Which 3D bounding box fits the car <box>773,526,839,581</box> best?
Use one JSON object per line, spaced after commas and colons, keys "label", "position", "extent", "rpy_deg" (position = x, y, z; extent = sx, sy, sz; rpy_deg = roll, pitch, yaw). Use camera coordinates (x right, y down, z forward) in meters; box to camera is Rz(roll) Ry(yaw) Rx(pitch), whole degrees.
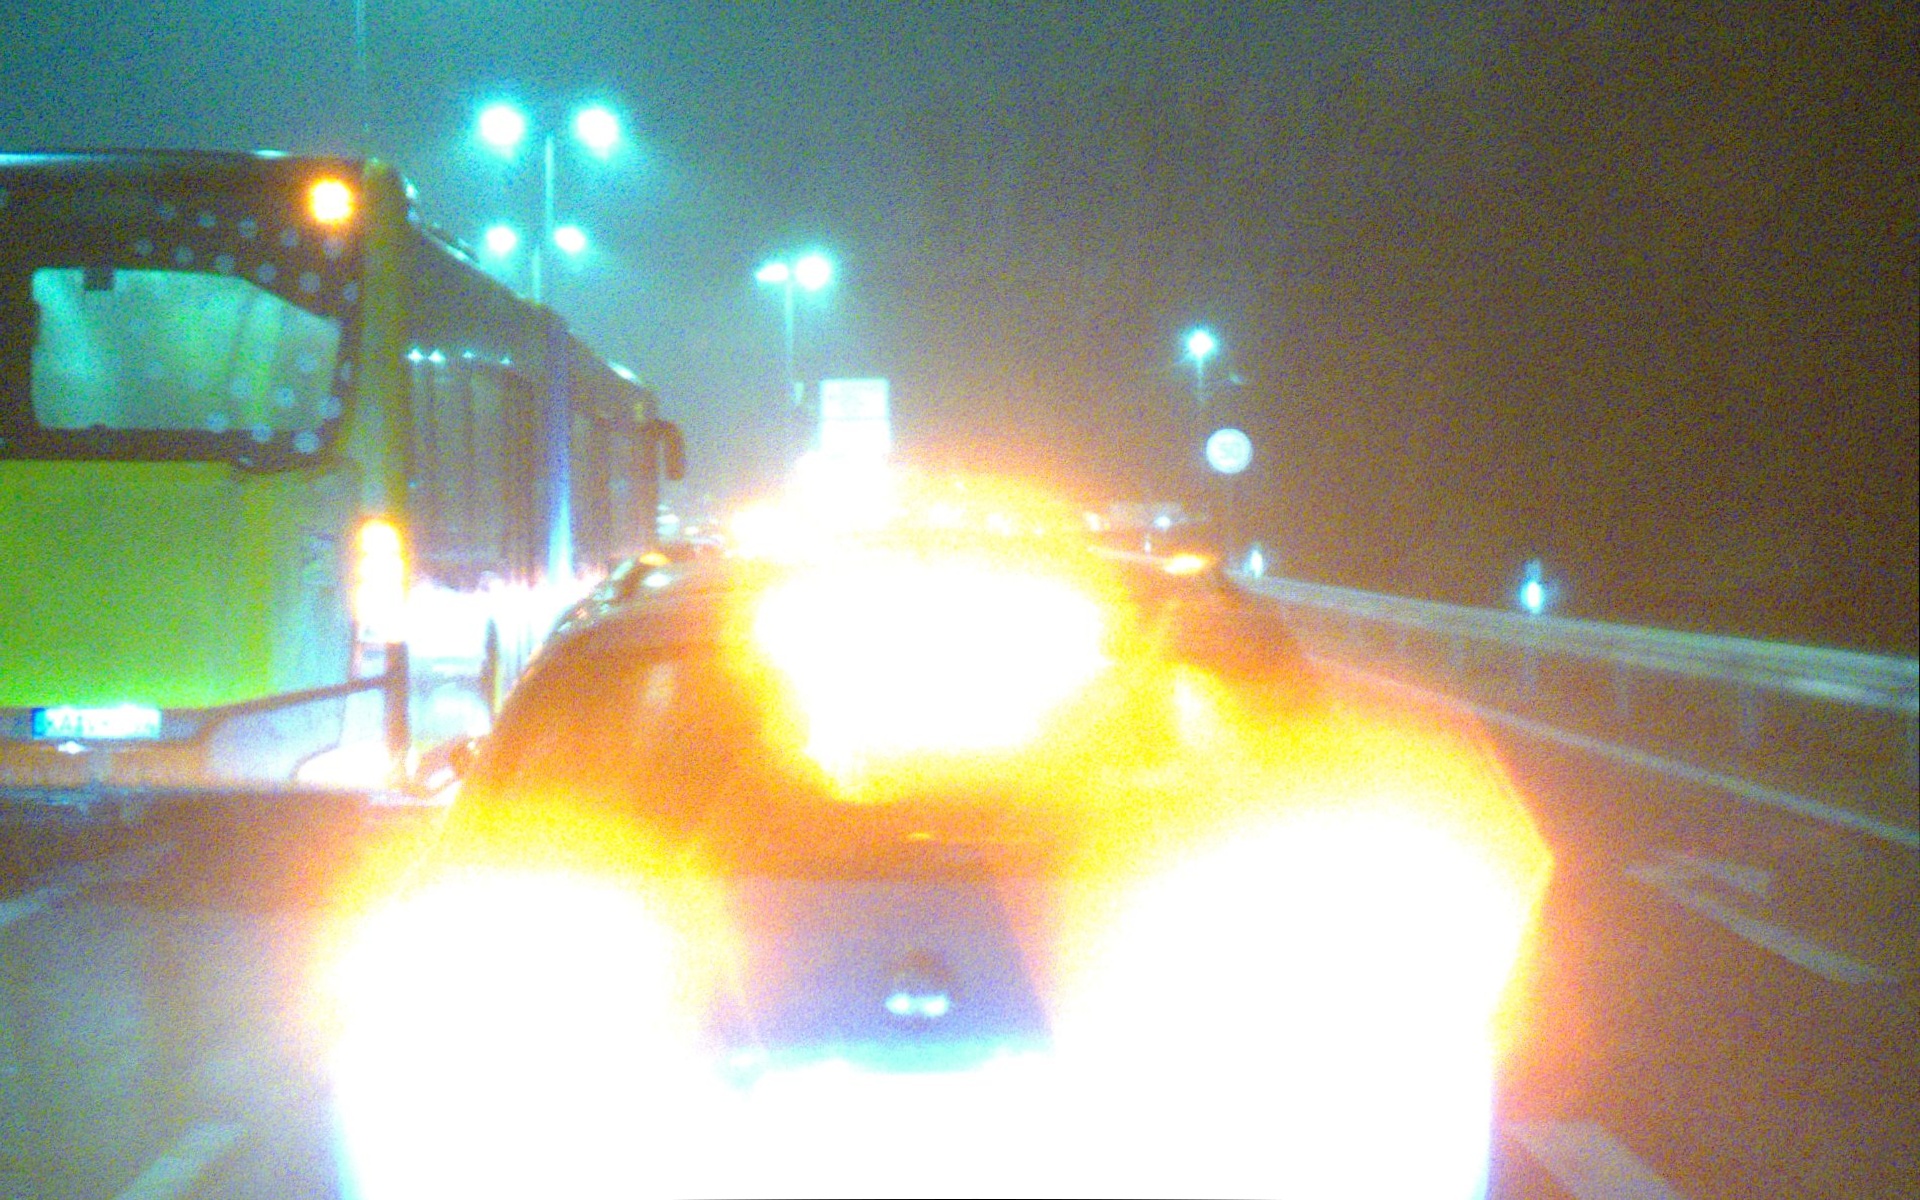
{"label": "car", "position": [-4.394, -1.337, 98.577], "extent": [1.779, 1.538, 3.875], "rpy_deg": [0, 1, -1]}

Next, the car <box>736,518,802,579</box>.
{"label": "car", "position": [-6.385, -1.735, 115.282], "extent": [1.993, 2.007, 4.000], "rpy_deg": [1, 1, -1]}

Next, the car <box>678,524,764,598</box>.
{"label": "car", "position": [-5.149, -0.855, 74.040], "extent": [1.779, 1.538, 3.875], "rpy_deg": [0, 1, -4]}

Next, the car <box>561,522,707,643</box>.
{"label": "car", "position": [-4.294, -0.262, 45.732], "extent": [1.779, 1.538, 3.875], "rpy_deg": [0, 1, -3]}

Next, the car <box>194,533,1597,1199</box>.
{"label": "car", "position": [-0.110, 0.616, 6.760], "extent": [1.821, 1.479, 4.568], "rpy_deg": [0, 1, -1]}

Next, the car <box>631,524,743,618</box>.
{"label": "car", "position": [-4.655, -0.524, 59.038], "extent": [1.779, 1.538, 3.875], "rpy_deg": [0, 1, -3]}

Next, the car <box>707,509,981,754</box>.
{"label": "car", "position": [-0.877, 0.163, 23.923], "extent": [1.739, 1.559, 3.777], "rpy_deg": [0, 1, -4]}

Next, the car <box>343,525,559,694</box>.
{"label": "car", "position": [-4.876, 0.047, 33.332], "extent": [1.779, 1.538, 3.875], "rpy_deg": [0, 1, -4]}

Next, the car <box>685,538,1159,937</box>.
{"label": "car", "position": [-0.241, 0.467, 15.005], "extent": [1.731, 1.444, 4.725], "rpy_deg": [0, 1, -2]}

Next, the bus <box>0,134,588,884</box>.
{"label": "bus", "position": [-3.655, -0.453, 18.179], "extent": [2.815, 3.013, 8.688], "rpy_deg": [0, 1, -3]}
